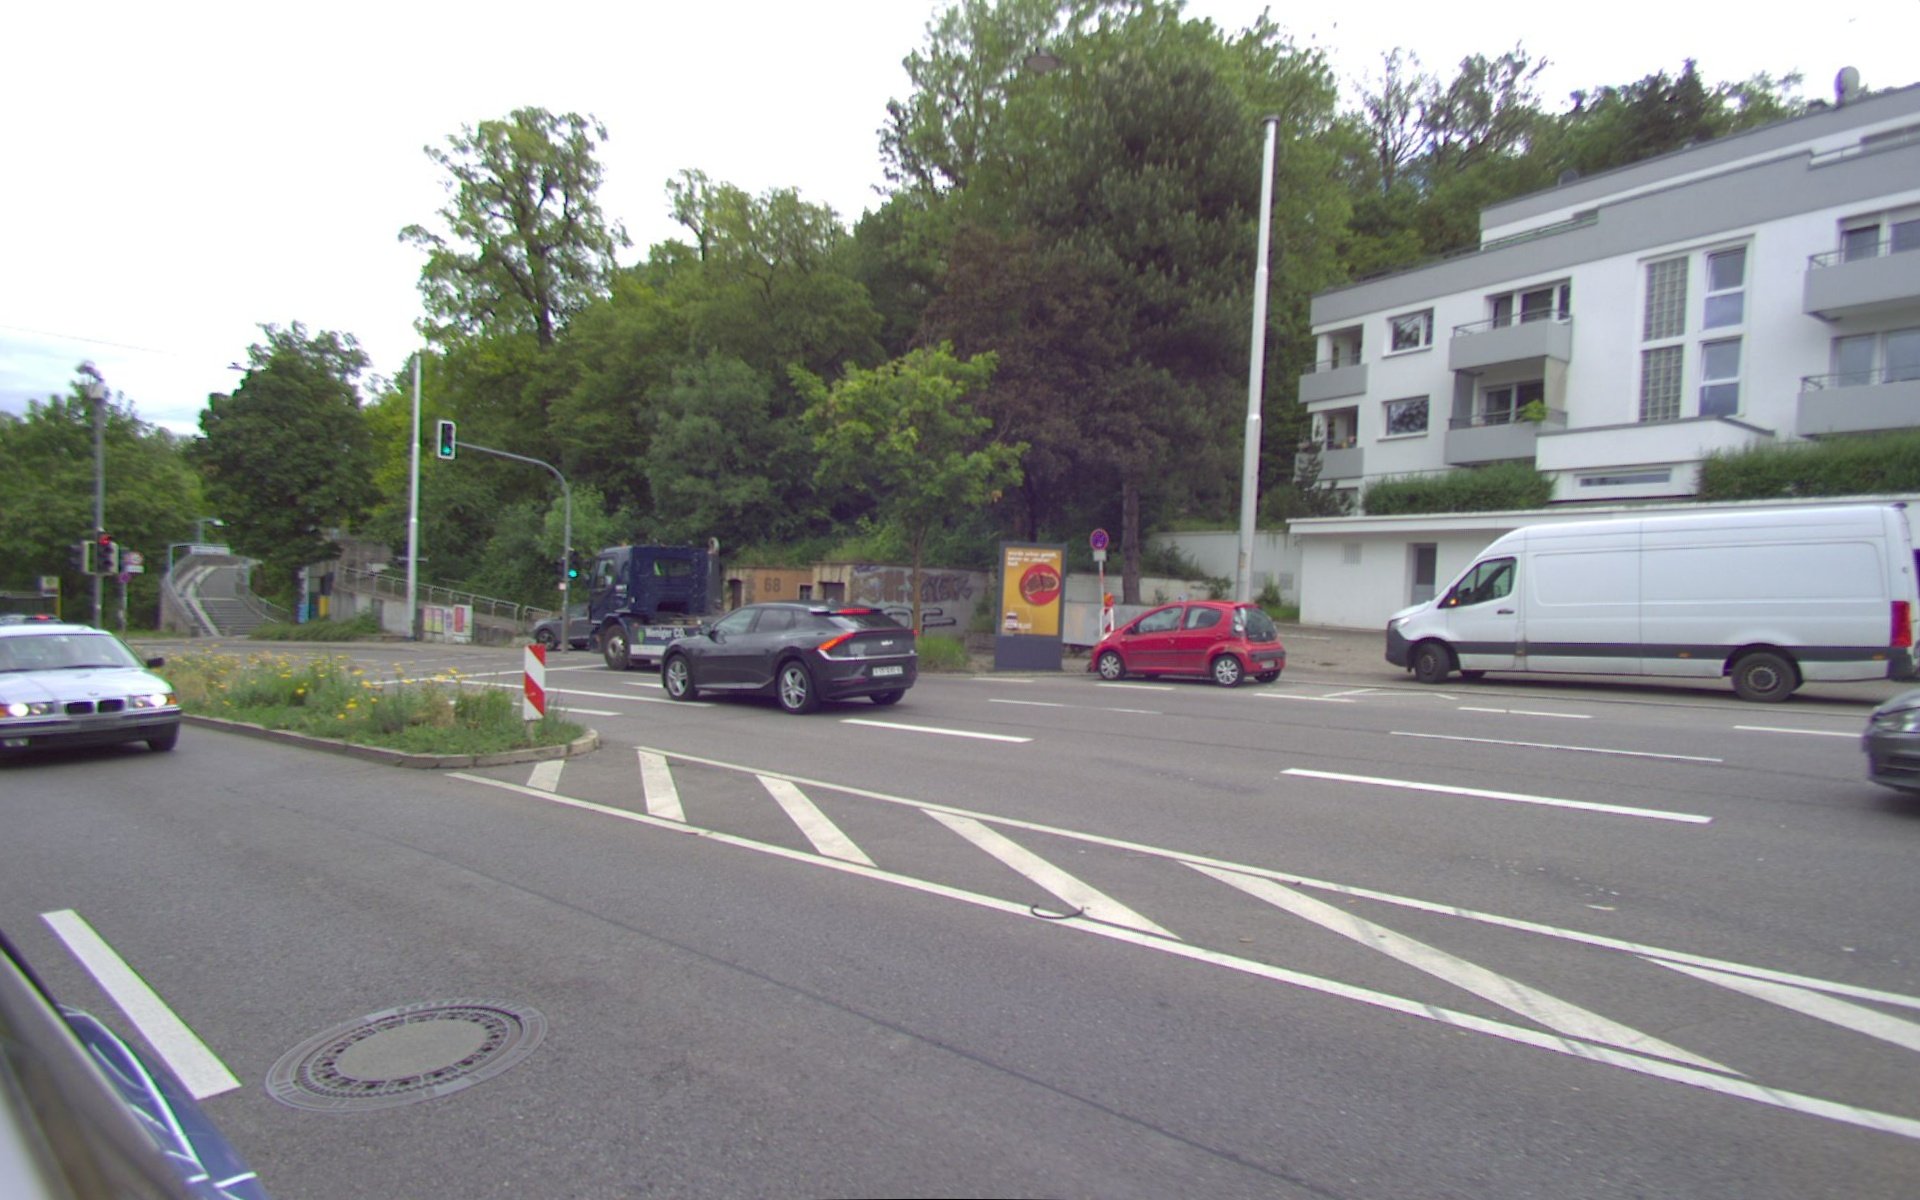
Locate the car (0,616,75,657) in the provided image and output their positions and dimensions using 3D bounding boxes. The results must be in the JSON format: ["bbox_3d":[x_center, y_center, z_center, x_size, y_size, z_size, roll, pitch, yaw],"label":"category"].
[{"bbox_3d":[-37.289,1.421,40.401,4.539,1.512,1.679,-1,0,31],"label":"car"}]

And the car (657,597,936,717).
[{"bbox_3d":[-2.540,0.754,14.952,4.486,1.508,1.677,-1,0,43],"label":"car"}]

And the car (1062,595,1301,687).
[{"bbox_3d":[3.910,0.690,18.233,3.924,1.476,1.605,-1,-1,41],"label":"car"}]

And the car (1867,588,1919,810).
[{"bbox_3d":[8.041,0.604,5.643,1.821,1.404,4.288,0,-1,-43],"label":"car"}]

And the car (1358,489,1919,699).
[{"bbox_3d":[10.270,-0.027,15.615,2.206,2.587,7.426,0,-1,-45],"label":"car"}]

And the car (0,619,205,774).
[{"bbox_3d":[-10.249,0.932,11.418,4.610,1.404,1.735,-1,0,40],"label":"car"}]

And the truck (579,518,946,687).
[{"bbox_3d":[-4.633,0.096,21.979,8.974,2.993,2.930,-1,0,41],"label":"truck"}]

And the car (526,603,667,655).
[{"bbox_3d":[-11.478,0.900,31.973,4.100,1.551,1.589,-1,-1,19],"label":"car"}]
